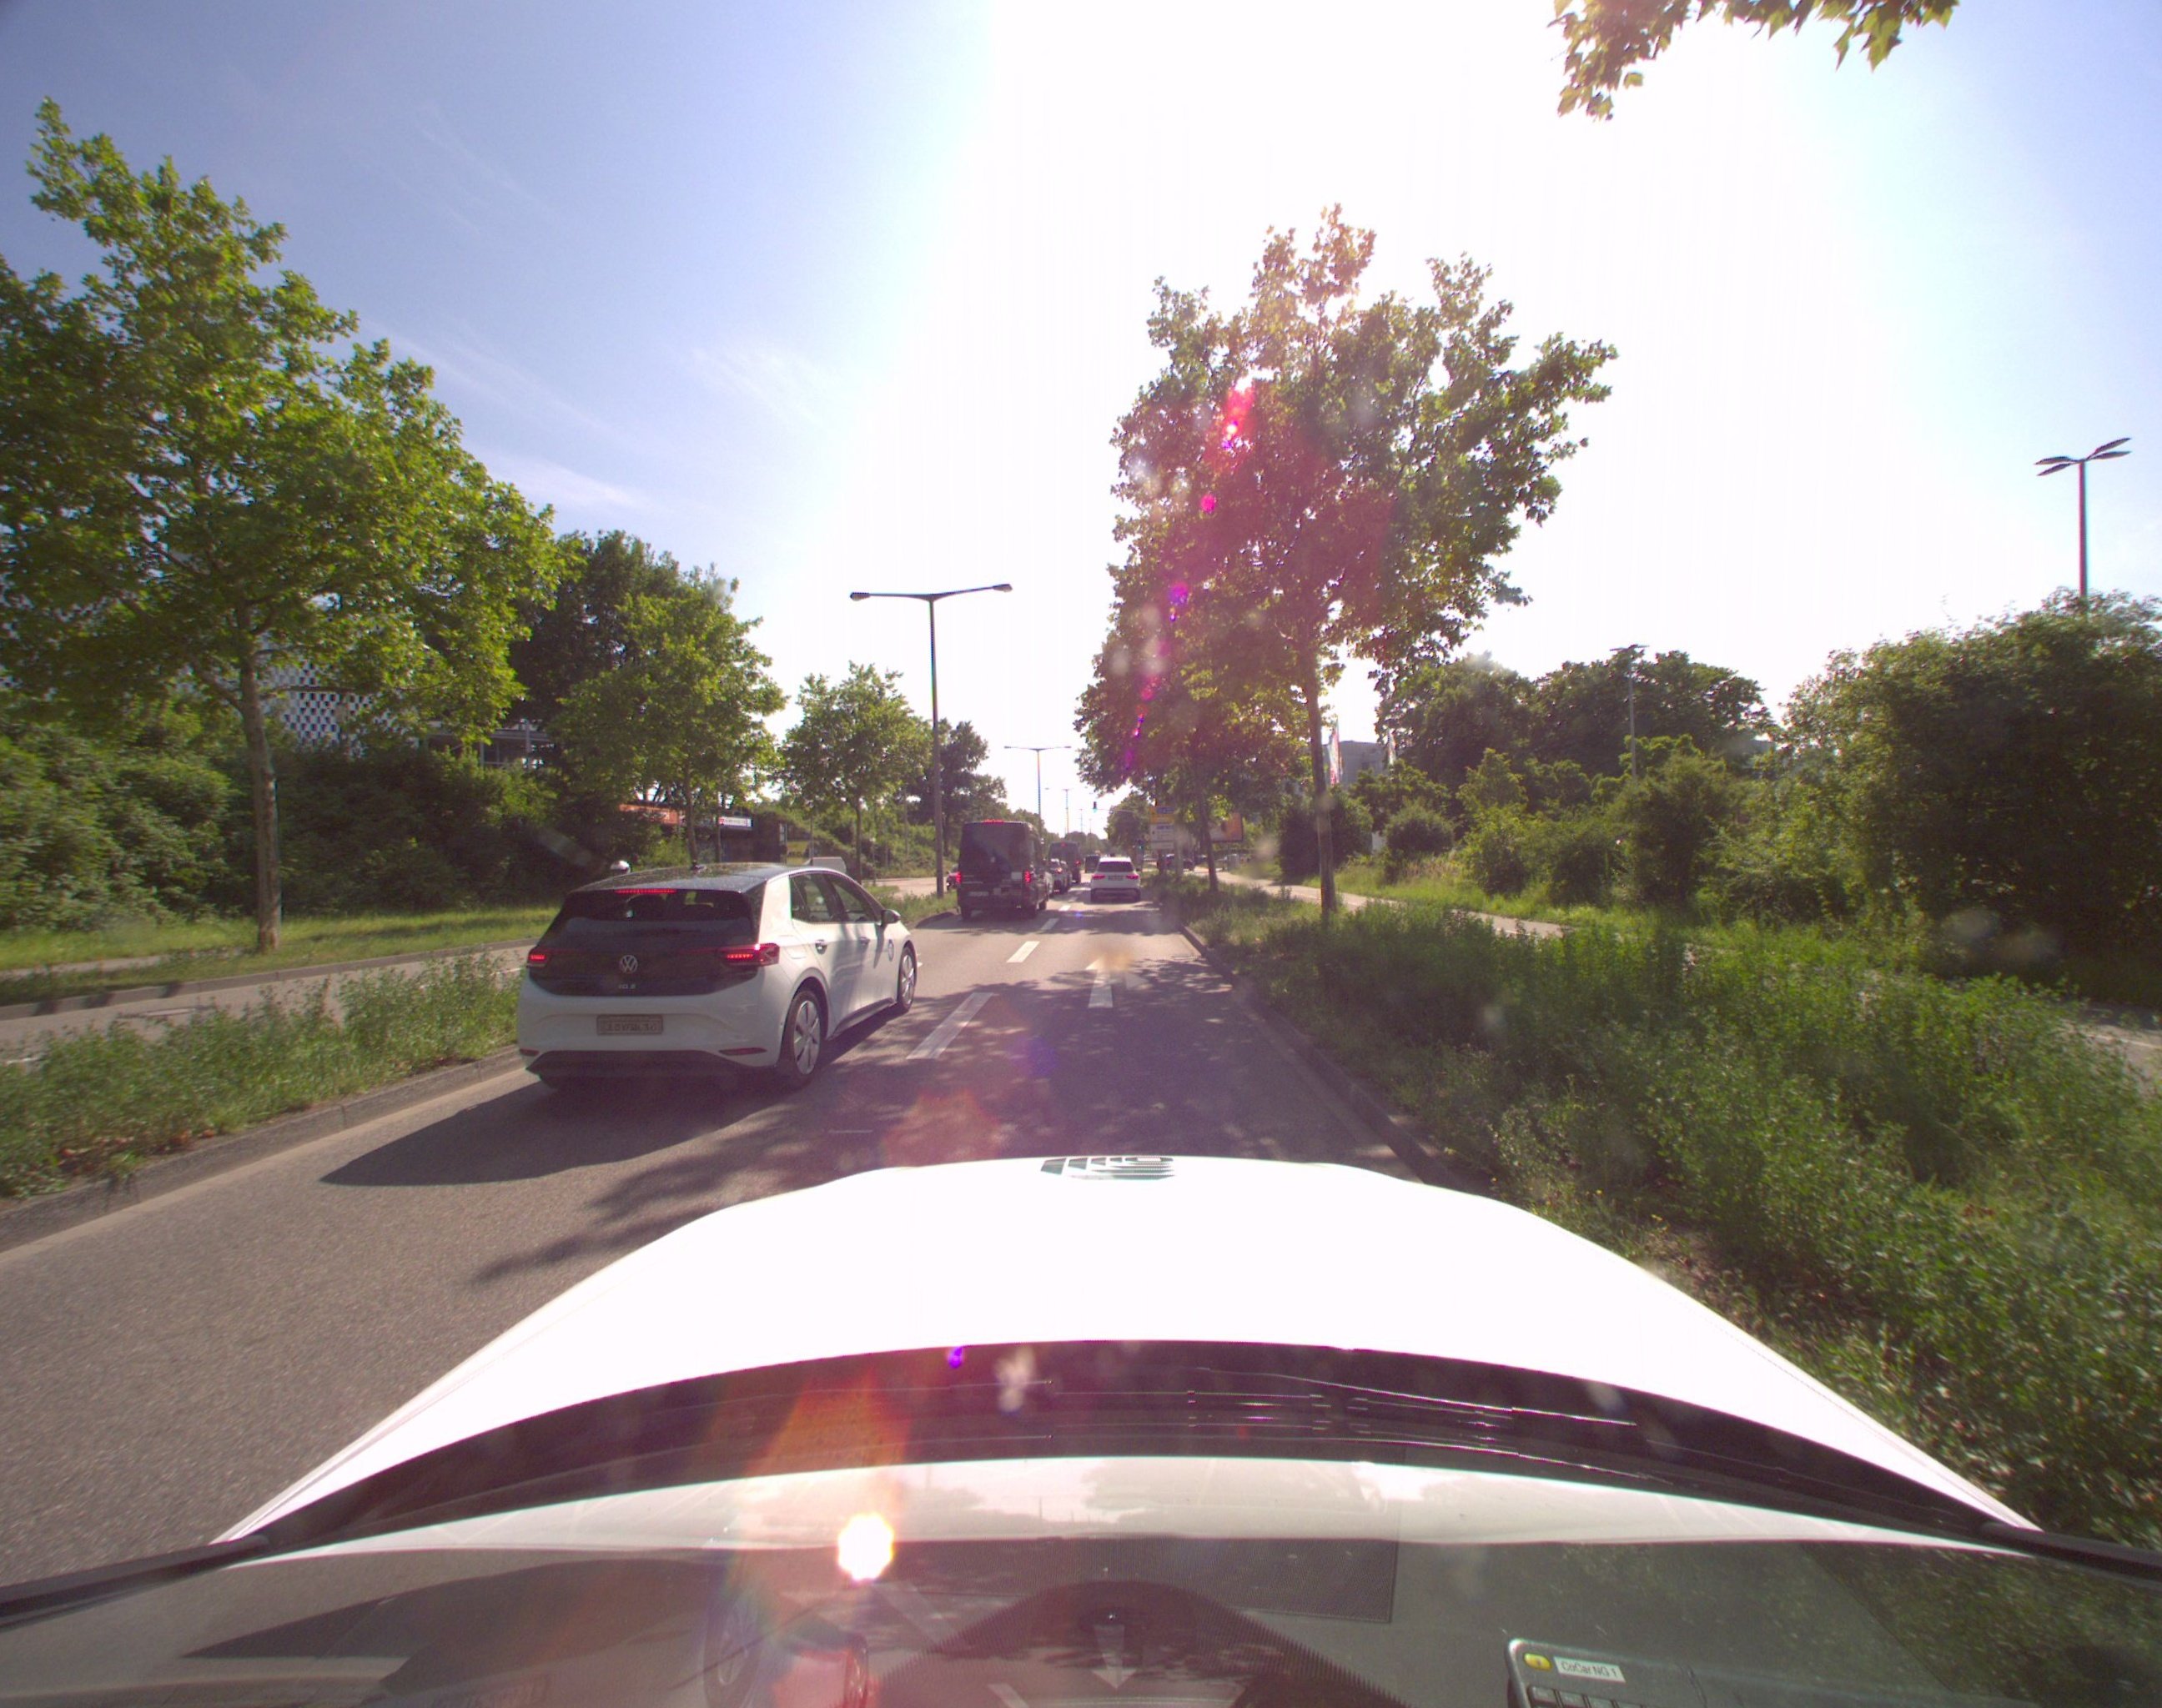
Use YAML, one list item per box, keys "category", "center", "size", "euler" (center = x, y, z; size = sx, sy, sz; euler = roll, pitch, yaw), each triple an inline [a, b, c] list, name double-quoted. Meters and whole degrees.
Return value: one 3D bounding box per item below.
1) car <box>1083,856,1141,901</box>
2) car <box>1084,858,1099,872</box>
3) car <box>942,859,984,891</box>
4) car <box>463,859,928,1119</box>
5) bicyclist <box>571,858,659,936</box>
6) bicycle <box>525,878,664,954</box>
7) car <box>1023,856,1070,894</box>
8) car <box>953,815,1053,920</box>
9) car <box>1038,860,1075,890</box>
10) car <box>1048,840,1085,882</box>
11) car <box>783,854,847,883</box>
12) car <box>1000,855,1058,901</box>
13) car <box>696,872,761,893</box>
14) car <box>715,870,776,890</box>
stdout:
- category: "car"
  center: [1.117, 0.867, 30.921]
  size: [1.850, 1.607, 3.995]
  euler: [0, 0, -3]
- category: "car"
  center: [1.072, 1.158, 85.059]
  size: [1.458, 1.404, 3.478]
  euler: [-1, 0, 2]
- category: "car"
  center: [-6.263, 1.077, 43.541]
  size: [1.850, 1.583, 4.169]
  euler: [-1, 0, -4]
- category: "car"
  center: [-2.703, 0.822, 6.960]
  size: [1.812, 1.521, 4.211]
  euler: [-1, 0, 2]
- category: "bicyclist"
  center: [-7.373, 0.660, 12.935]
  size: [0.725, 1.191, 1.102]
  euler: [0, -1, 2]
- category: "bicycle"
  center: [-7.397, 0.903, 12.537]
  size: [0.725, 1.029, 2.218]
  euler: [0, -1, 2]
- category: "car"
  center: [-1.551, 0.928, 37.821]
  size: [1.764, 1.647, 4.087]
  euler: [-1, -1, 3]
- category: "car"
  center: [-2.079, 0.375, 23.593]
  size: [2.008, 2.607, 6.172]
  euler: [-1, -1, 3]
- category: "car"
  center: [-1.258, 1.067, 43.480]
  size: [1.684, 1.505, 3.888]
  euler: [0, 0, 2]
- category: "car"
  center: [-0.914, 0.486, 53.823]
  size: [2.073, 2.657, 4.877]
  euler: [0, -1, 3]
- category: "car"
  center: [-24.006, 1.297, 73.531]
  size: [5.159, 2.418, 1.979]
  euler: [-1, -1, -33]
- category: "car"
  center: [-1.984, 0.912, 32.046]
  size: [1.764, 1.647, 4.355]
  euler: [-1, -1, 3]
- category: "car"
  center: [-24.953, 1.991, 57.657]
  size: [4.013, 1.345, 1.864]
  euler: [-2, -1, -31]
- category: "car"
  center: [-26.951, 2.071, 65.506]
  size: [4.347, 1.426, 1.471]
  euler: [-2, -1, -33]
